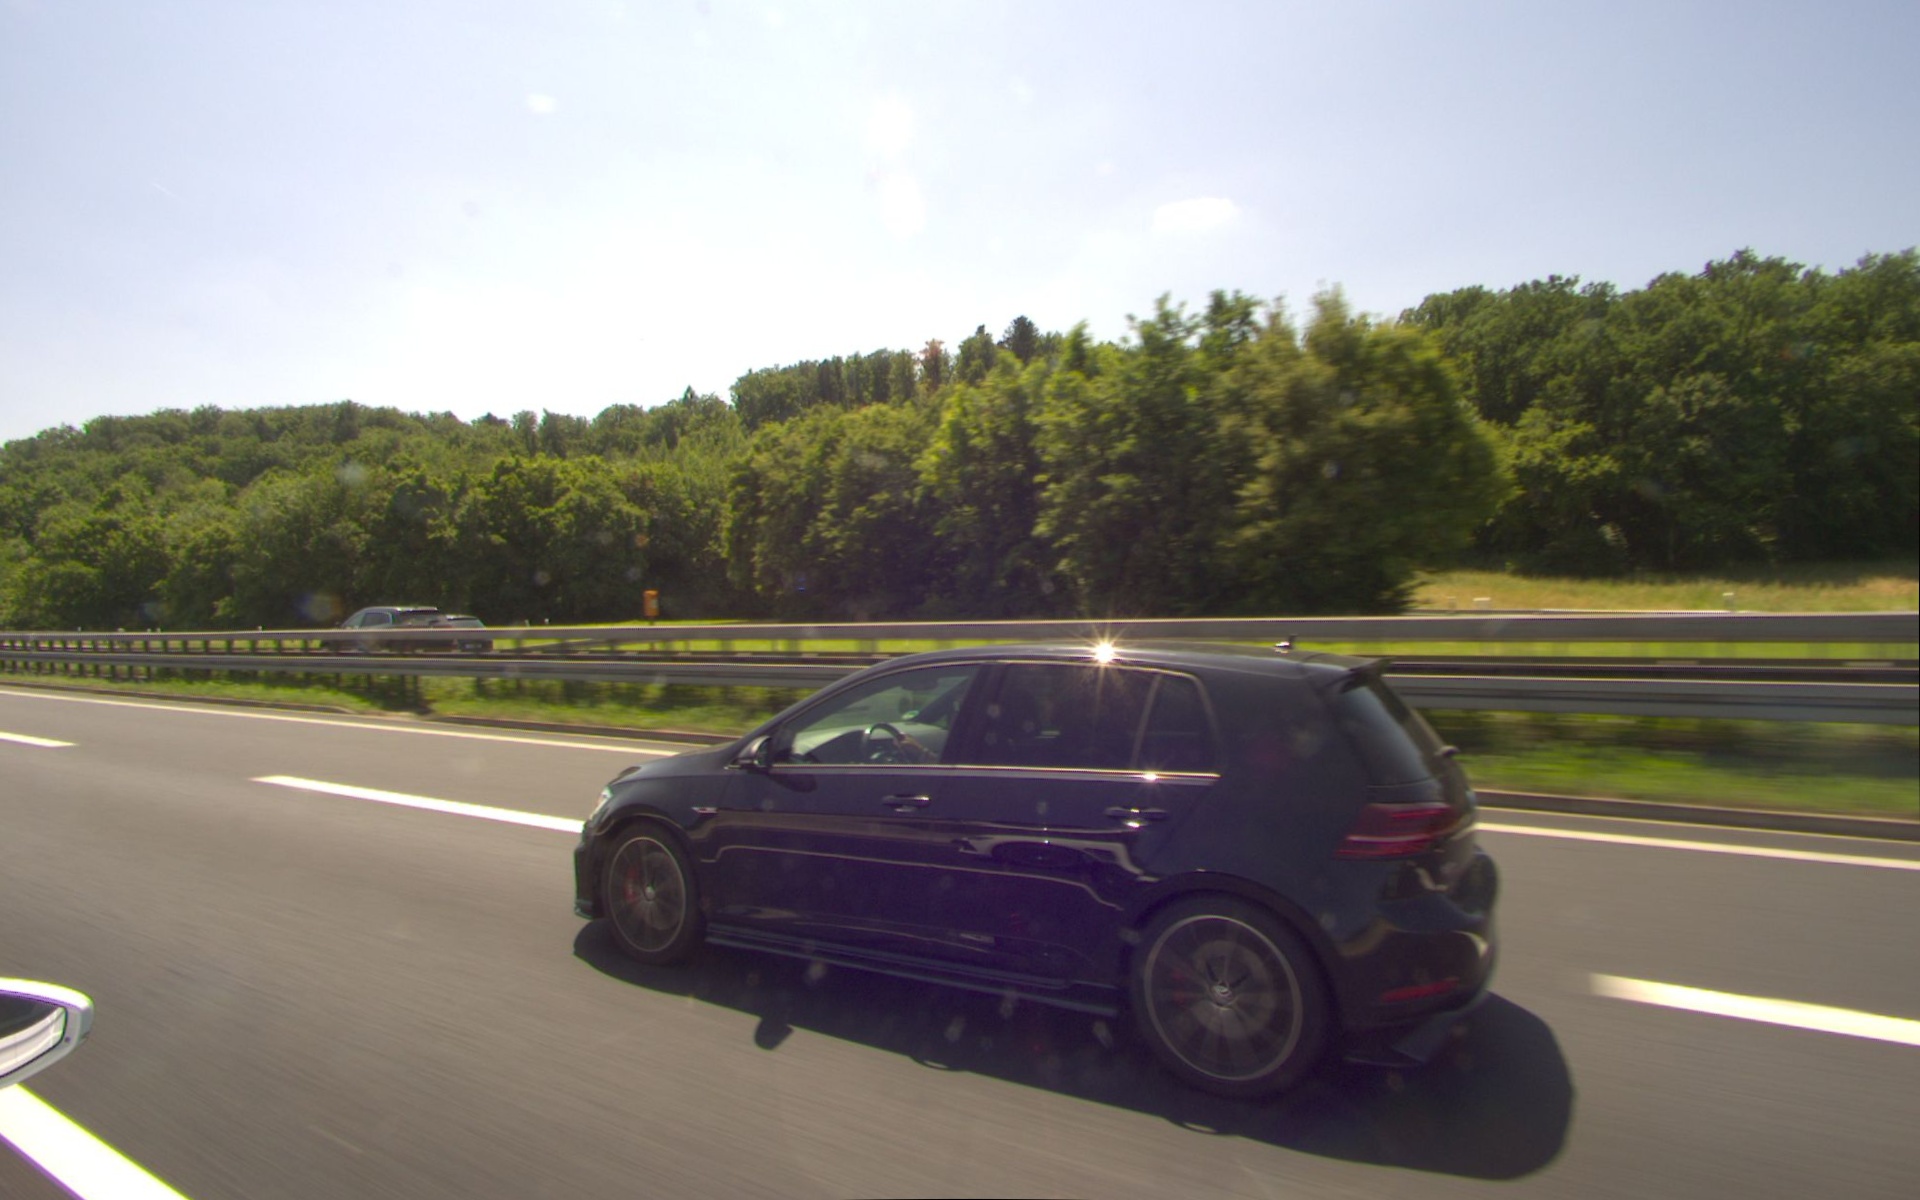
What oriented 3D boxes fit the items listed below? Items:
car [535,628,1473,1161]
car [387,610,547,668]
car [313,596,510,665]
[{"bbox_3d":[0.073,0.884,4.571,3.909,1.454,1.791,-2,-1,32],"label":"car"},{"bbox_3d":[-15.432,1.221,31.279,5.151,1.683,1.991,-2,-1,30],"label":"car"},{"bbox_3d":[-14.643,0.833,26.644,5.542,1.683,1.991,-2,-1,29],"label":"car"}]
